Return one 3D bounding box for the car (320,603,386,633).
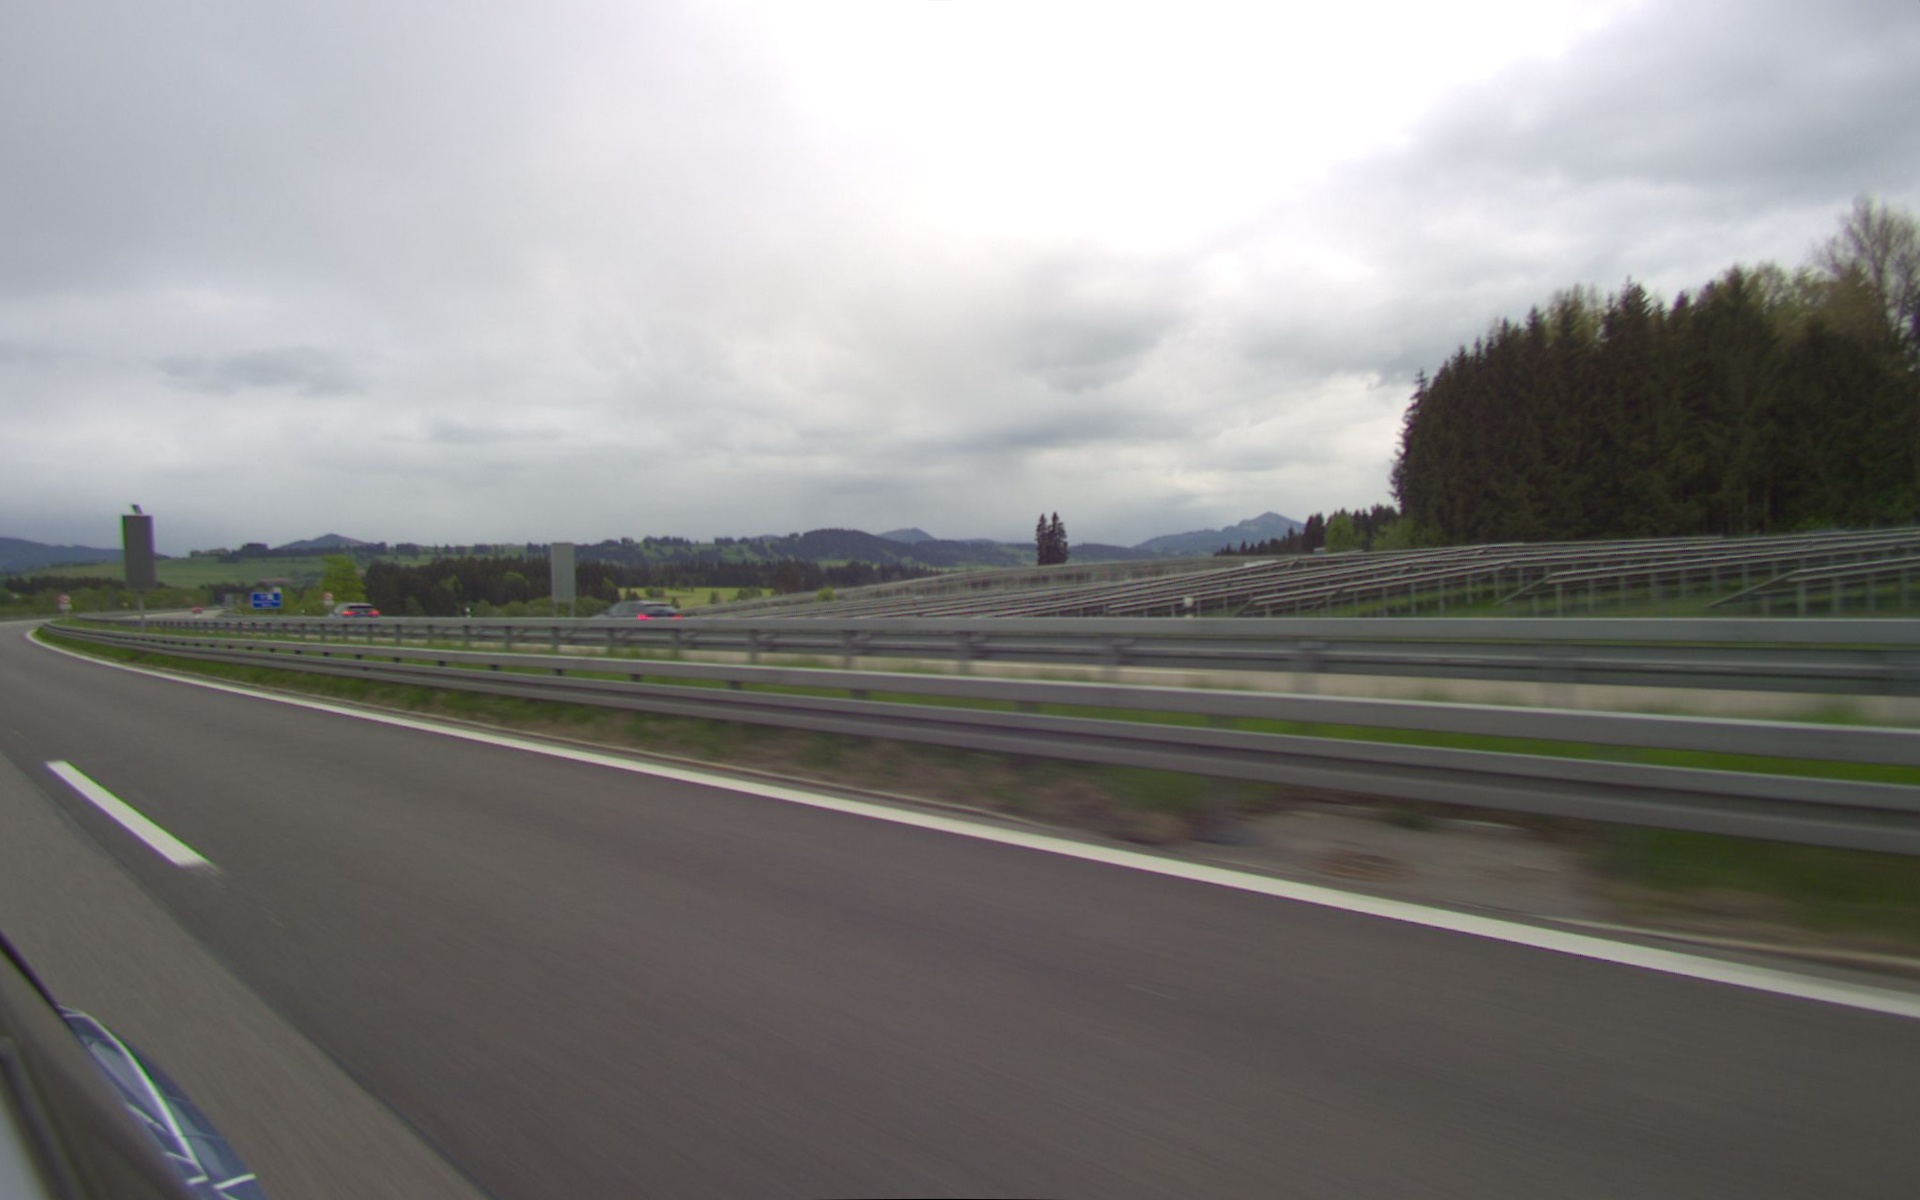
[{"bbox_3d":[-31.989,0.956,53.270,4.002,1.428,1.971,-2,2,44],"label":"car"}]

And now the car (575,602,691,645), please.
[{"bbox_3d":[-12.561,0.905,38.696,4.999,1.450,1.973,-2,2,42],"label":"car"}]
